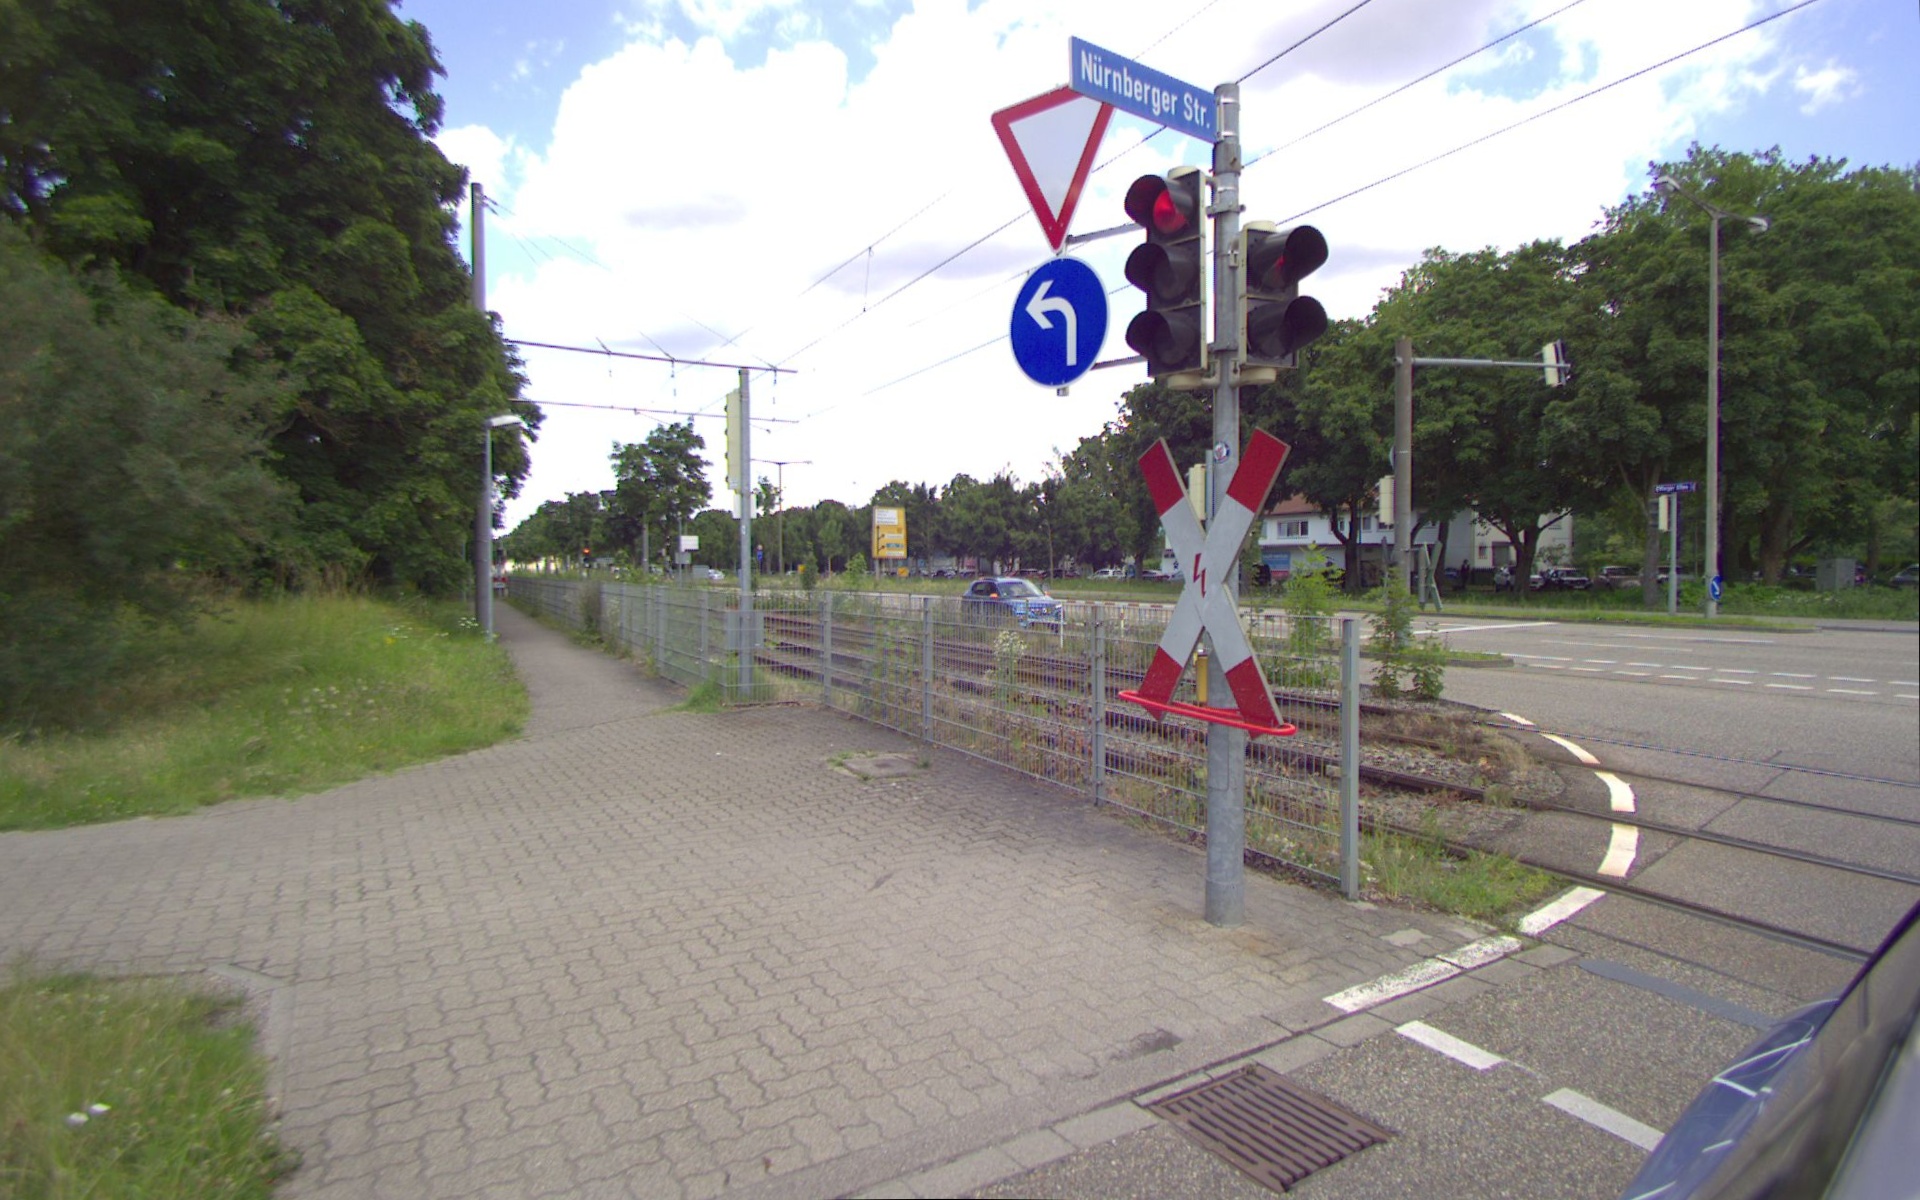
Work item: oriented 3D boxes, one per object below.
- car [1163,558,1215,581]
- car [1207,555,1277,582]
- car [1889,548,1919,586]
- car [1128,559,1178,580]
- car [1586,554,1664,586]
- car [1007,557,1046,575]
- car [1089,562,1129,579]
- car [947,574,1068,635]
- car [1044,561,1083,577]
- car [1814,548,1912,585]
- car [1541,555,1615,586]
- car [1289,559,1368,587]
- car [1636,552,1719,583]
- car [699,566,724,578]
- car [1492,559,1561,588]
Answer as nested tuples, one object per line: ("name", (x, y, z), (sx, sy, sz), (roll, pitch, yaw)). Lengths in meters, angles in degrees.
("car", (16.936, -2.261, 74.891), (1.883, 1.607, 3.672), (-1, 2, -26))
("car", (19.346, -2.156, 69.650), (1.850, 1.732, 4.938), (-1, 2, -26))
("car", (45.745, -1.557, 47.179), (4.041, 1.731, 1.823), (-1, 2, -19))
("car", (14.971, -2.349, 78.603), (1.728, 1.607, 4.030), (-1, 2, -26))
("car", (35.372, -1.578, 53.944), (1.967, 1.608, 4.013), (0, 0, 9))
("car", (6.231, -3.196, 95.038), (1.959, 1.607, 4.030), (-1, 2, -26))
("car", (12.232, -2.411, 83.408), (1.593, 1.348, 3.482), (-1, 2, -26))
("car", (1.159, 0.060, 26.558), (1.572, 1.482, 3.709), (0, 1, -26))
("car", (9.105, -2.745, 89.345), (1.695, 1.429, 3.872), (-1, 2, -26))
("car", (44.213, -1.627, 49.573), (4.041, 1.749, 1.823), (-1, 2, -19))
("car", (32.991, -1.575, 54.179), (1.967, 1.607, 4.014), (0, 2, 9))
("car", (23.172, -1.728, 63.767), (1.780, 1.677, 4.362), (-3, 3, -37))
("car", (37.780, -1.719, 53.410), (1.967, 1.564, 4.014), (0, 2, 9))
("car", (-29.957, -3.338, 121.819), (1.769, 1.449, 4.502), (-1, 2, -29))
("car", (30.423, -1.436, 54.495), (1.967, 1.502, 4.014), (0, 2, 9))
